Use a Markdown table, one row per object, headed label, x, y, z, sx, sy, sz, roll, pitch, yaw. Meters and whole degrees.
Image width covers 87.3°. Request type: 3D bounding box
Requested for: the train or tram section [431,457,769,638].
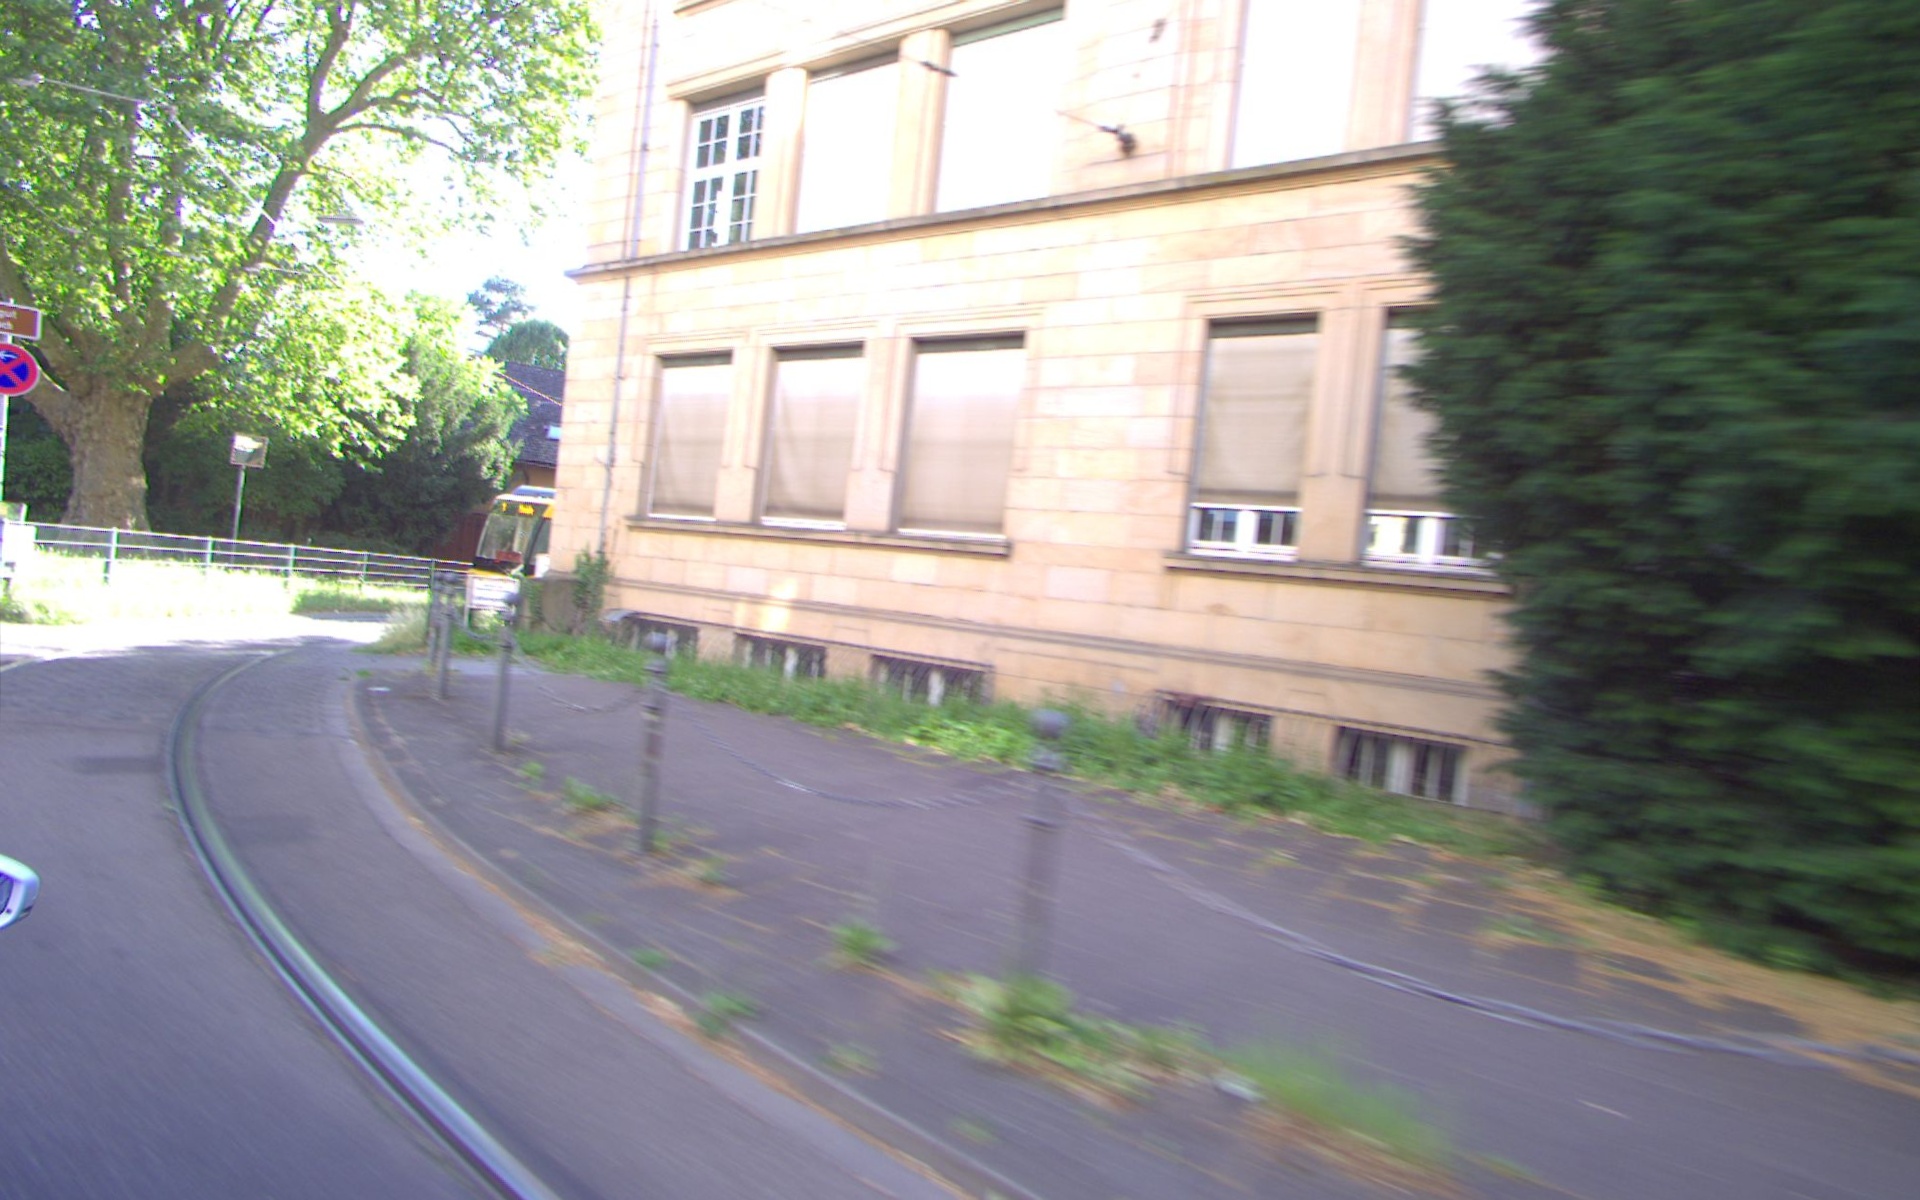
| label | x | y | z | sx | sy | sz | roll | pitch | yaw |
| --- | --- | --- | --- | --- | --- | --- | --- | --- | --- |
| train or tram section | -9.353 | -1.128 | 27.825 | 2.748 | 3.560 | 9.268 | 7 | -2 | 25 |
